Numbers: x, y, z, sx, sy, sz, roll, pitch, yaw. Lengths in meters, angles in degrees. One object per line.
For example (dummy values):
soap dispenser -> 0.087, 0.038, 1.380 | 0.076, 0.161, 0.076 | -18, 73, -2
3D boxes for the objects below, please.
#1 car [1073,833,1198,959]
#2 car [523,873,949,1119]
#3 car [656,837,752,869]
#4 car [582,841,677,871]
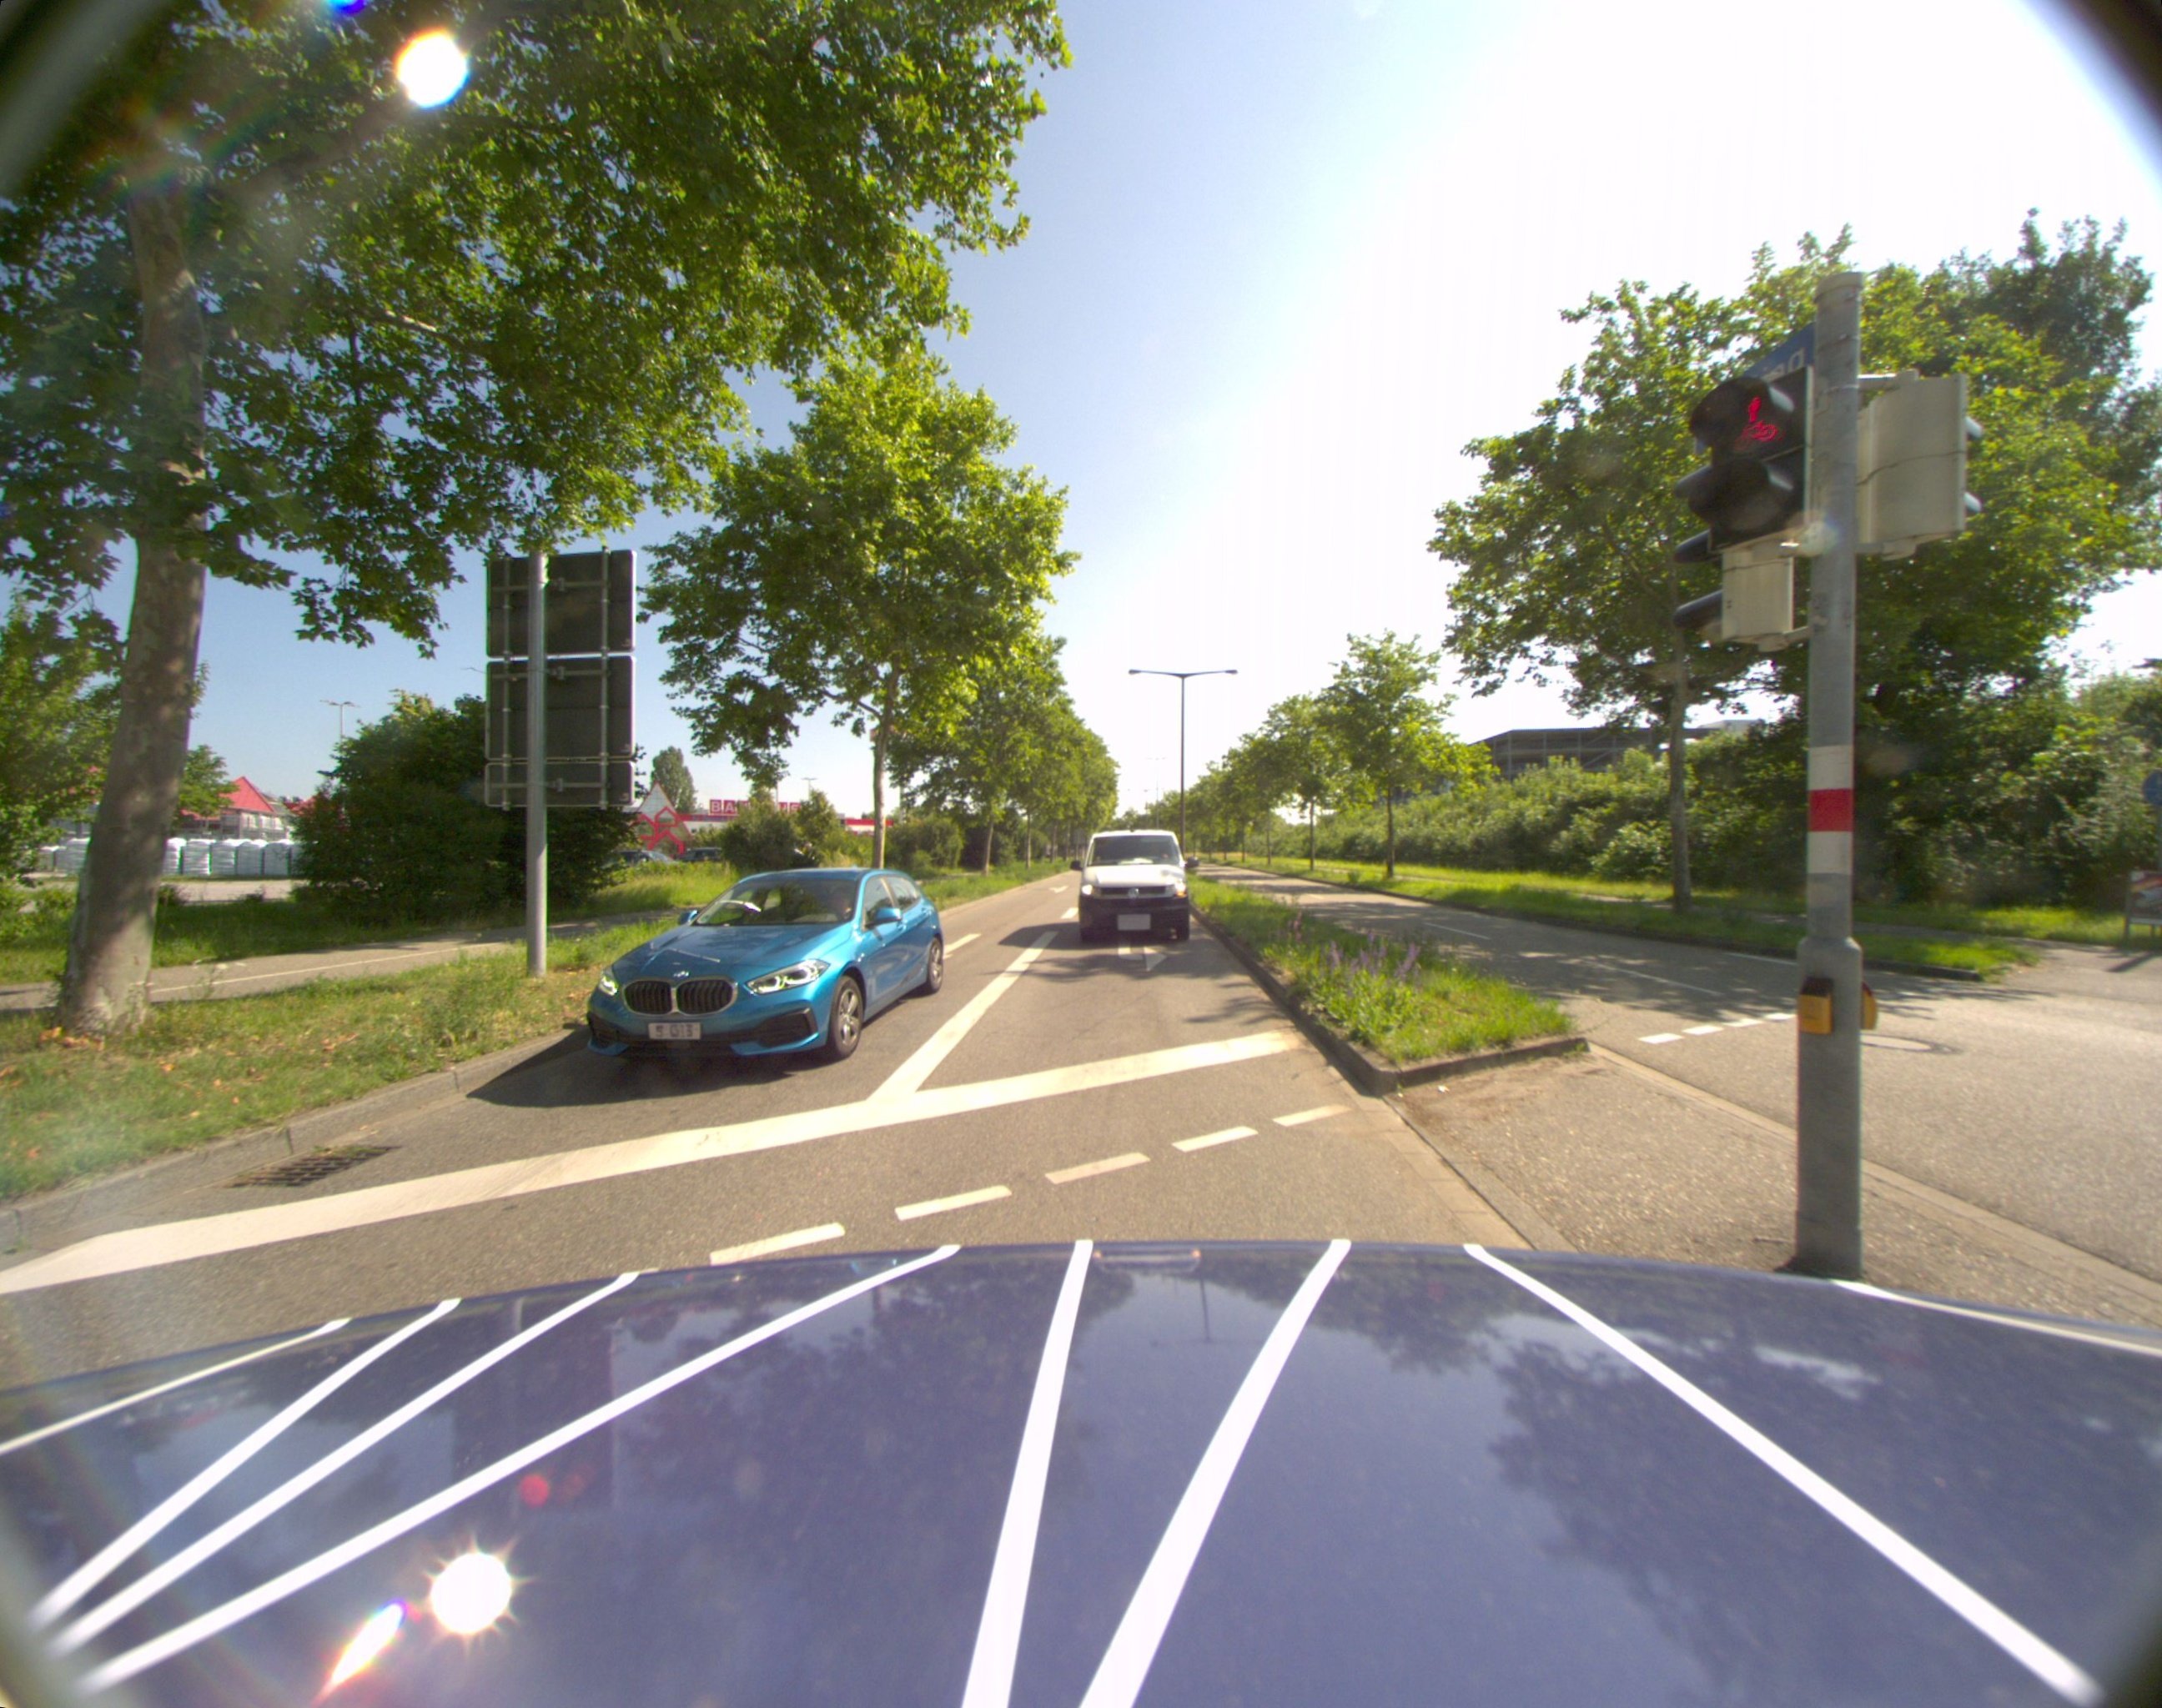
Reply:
car -> 0.911, 0.604, 13.942 | 1.872, 1.889, 4.881 | -1, 1, 2
car -> -2.581, 0.973, 6.954 | 1.872, 1.412, 4.130 | -1, 1, 2
car -> -19.593, -0.044, 39.579 | 3.995, 1.474, 2.001 | -2, 1, 7
car -> -21.072, 0.073, 35.526 | 3.526, 1.240, 1.613 | -2, 1, 7
